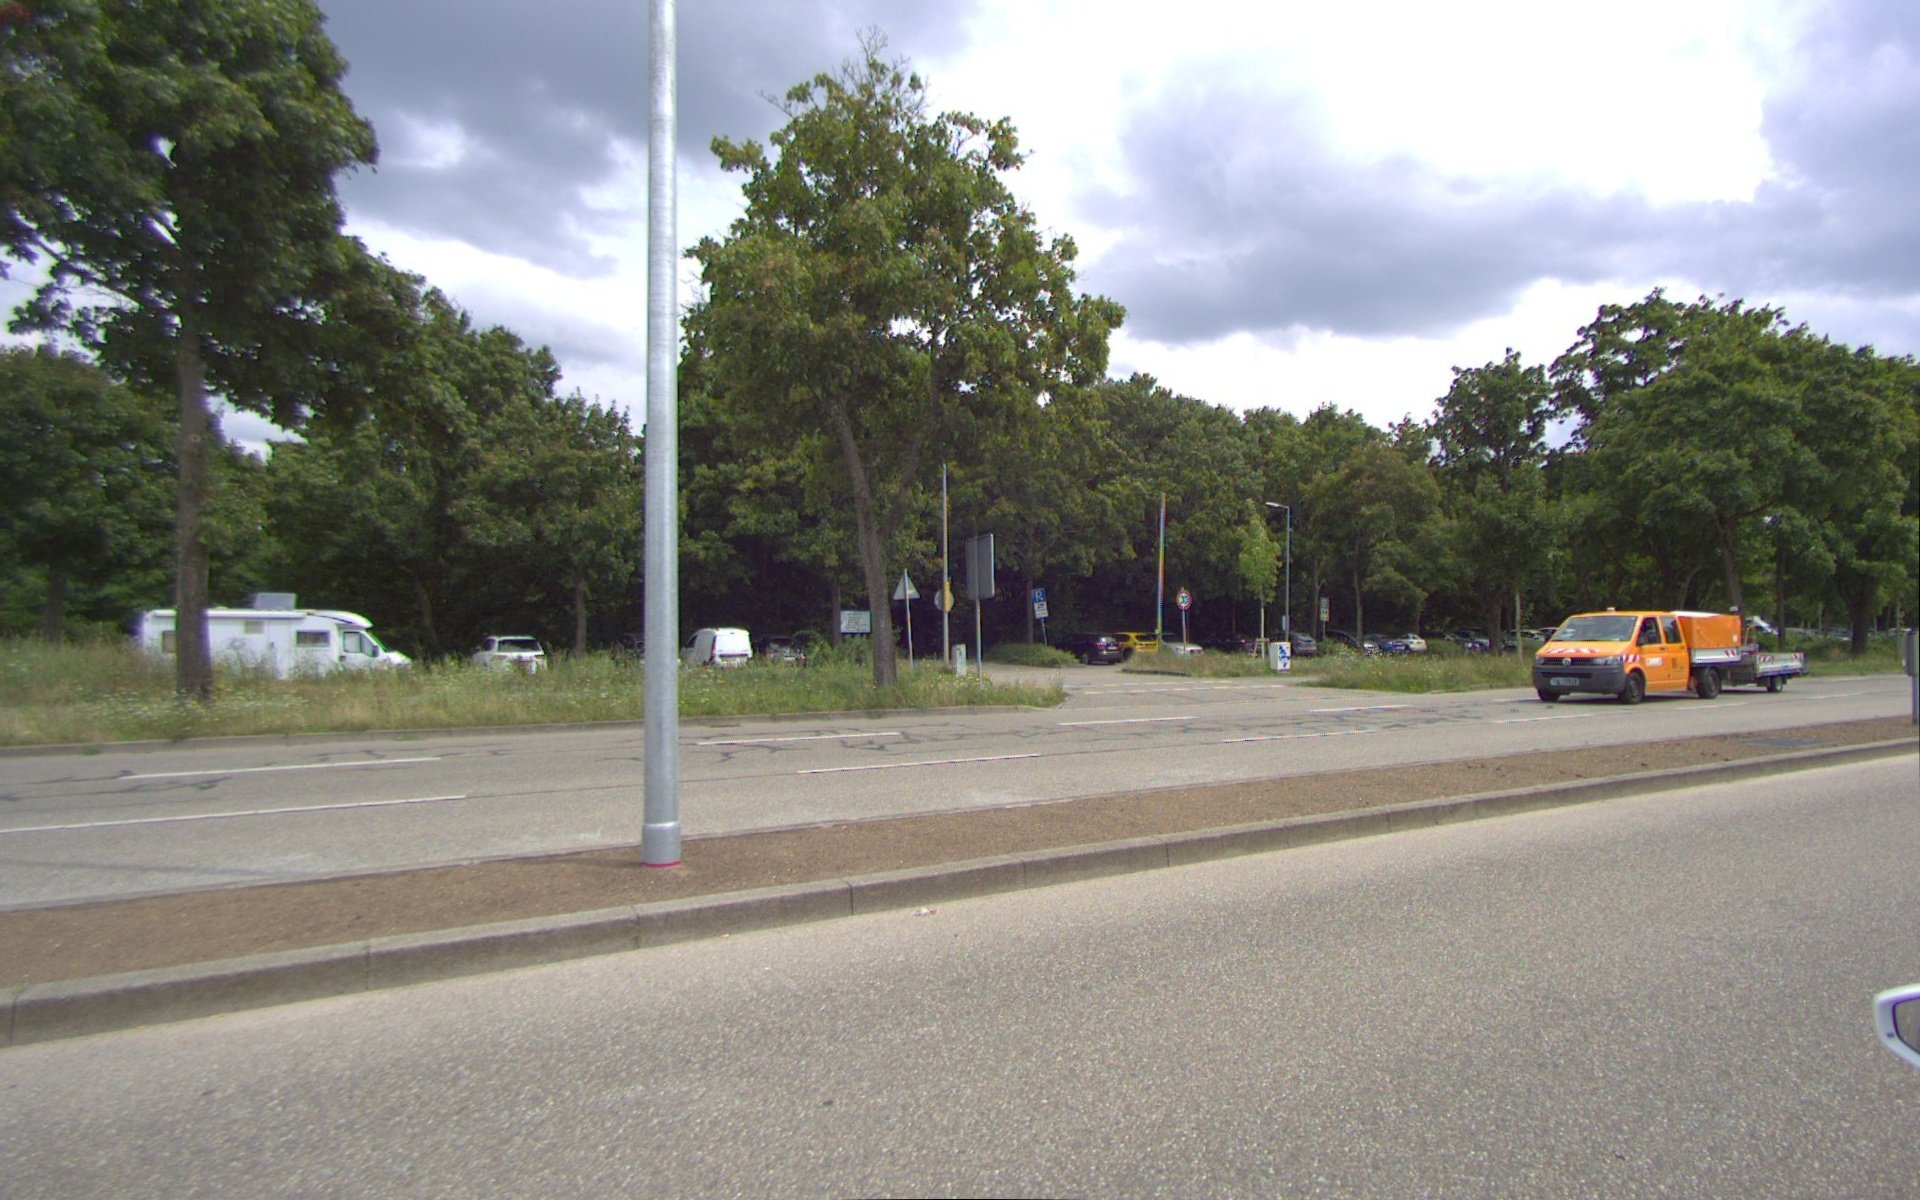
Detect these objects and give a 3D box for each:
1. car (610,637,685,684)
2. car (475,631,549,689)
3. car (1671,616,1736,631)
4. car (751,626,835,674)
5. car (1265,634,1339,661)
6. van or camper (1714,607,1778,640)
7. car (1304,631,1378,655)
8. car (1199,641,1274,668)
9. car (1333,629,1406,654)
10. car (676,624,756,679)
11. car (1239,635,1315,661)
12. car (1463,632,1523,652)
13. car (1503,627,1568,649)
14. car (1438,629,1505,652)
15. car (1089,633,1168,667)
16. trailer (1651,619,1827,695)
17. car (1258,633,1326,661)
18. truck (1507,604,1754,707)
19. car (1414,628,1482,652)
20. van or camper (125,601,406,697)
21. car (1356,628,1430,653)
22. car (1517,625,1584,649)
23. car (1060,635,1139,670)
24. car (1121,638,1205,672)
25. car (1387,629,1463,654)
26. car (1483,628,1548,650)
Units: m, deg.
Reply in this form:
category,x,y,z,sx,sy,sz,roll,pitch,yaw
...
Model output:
category,x,y,z,sx,sy,sz,roll,pitch,yaw
car,-11.197,2.106,35.858,1.775,1.506,3.969,0,-1,-30
car,-14.952,1.929,33.413,1.864,1.739,3.968,0,-1,-30
car,62.664,1.957,84.688,1.904,1.177,3.968,0,-1,-30
car,-6.617,1.928,39.507,2.022,1.736,3.969,0,-1,-30
car,18.918,2.601,55.637,1.763,1.367,3.694,0,-1,-28
van or camper,68.719,2.036,87.846,1.904,2.793,3.968,0,-1,-30
car,21.985,2.455,58.126,1.645,1.254,3.973,0,-1,-27
car,14.473,2.834,52.662,1.763,1.274,3.694,0,-1,-28
car,24.416,2.467,60.007,1.646,1.378,3.972,0,-1,-28
car,-9.178,1.871,37.546,1.916,1.912,3.969,0,-1,-30
car,17.286,2.611,54.929,1.545,1.276,3.969,0,-1,-29
car,35.124,2.723,66.244,1.498,1.223,3.281,0,-1,-28
car,39.393,2.594,68.807,1.498,1.430,3.635,0,-1,-28
car,33.074,2.582,65.035,1.687,1.378,3.631,0,-1,-28
car,8.206,2.413,49.188,1.763,1.518,3.971,0,-1,-28
trailer,19.062,1.365,24.589,3.848,1.712,2.054,1,-3,-29
car,18.550,2.587,56.241,1.498,1.430,3.635,0,-1,-28
truck,14.854,1.150,22.146,5.967,2.021,2.079,0,-2,-30
car,30.743,2.511,63.365,1.687,1.378,3.631,0,-1,-28
van or camper,-20.220,1.350,29.798,6.640,2.574,2.460,0,-1,-30
car,26.526,2.454,61.651,1.799,1.378,3.971,0,-1,-28
car,41.475,2.577,70.613,1.859,1.539,3.635,0,-1,-28
car,6.623,2.456,48.103,1.763,1.518,3.971,0,-1,-28
car,10.042,2.710,49.987,1.862,1.518,4.164,0,-1,-28
car,28.866,2.530,62.486,1.973,1.429,3.975,0,-1,-25
car,37.379,2.612,67.702,1.498,1.430,3.635,0,-1,-28
